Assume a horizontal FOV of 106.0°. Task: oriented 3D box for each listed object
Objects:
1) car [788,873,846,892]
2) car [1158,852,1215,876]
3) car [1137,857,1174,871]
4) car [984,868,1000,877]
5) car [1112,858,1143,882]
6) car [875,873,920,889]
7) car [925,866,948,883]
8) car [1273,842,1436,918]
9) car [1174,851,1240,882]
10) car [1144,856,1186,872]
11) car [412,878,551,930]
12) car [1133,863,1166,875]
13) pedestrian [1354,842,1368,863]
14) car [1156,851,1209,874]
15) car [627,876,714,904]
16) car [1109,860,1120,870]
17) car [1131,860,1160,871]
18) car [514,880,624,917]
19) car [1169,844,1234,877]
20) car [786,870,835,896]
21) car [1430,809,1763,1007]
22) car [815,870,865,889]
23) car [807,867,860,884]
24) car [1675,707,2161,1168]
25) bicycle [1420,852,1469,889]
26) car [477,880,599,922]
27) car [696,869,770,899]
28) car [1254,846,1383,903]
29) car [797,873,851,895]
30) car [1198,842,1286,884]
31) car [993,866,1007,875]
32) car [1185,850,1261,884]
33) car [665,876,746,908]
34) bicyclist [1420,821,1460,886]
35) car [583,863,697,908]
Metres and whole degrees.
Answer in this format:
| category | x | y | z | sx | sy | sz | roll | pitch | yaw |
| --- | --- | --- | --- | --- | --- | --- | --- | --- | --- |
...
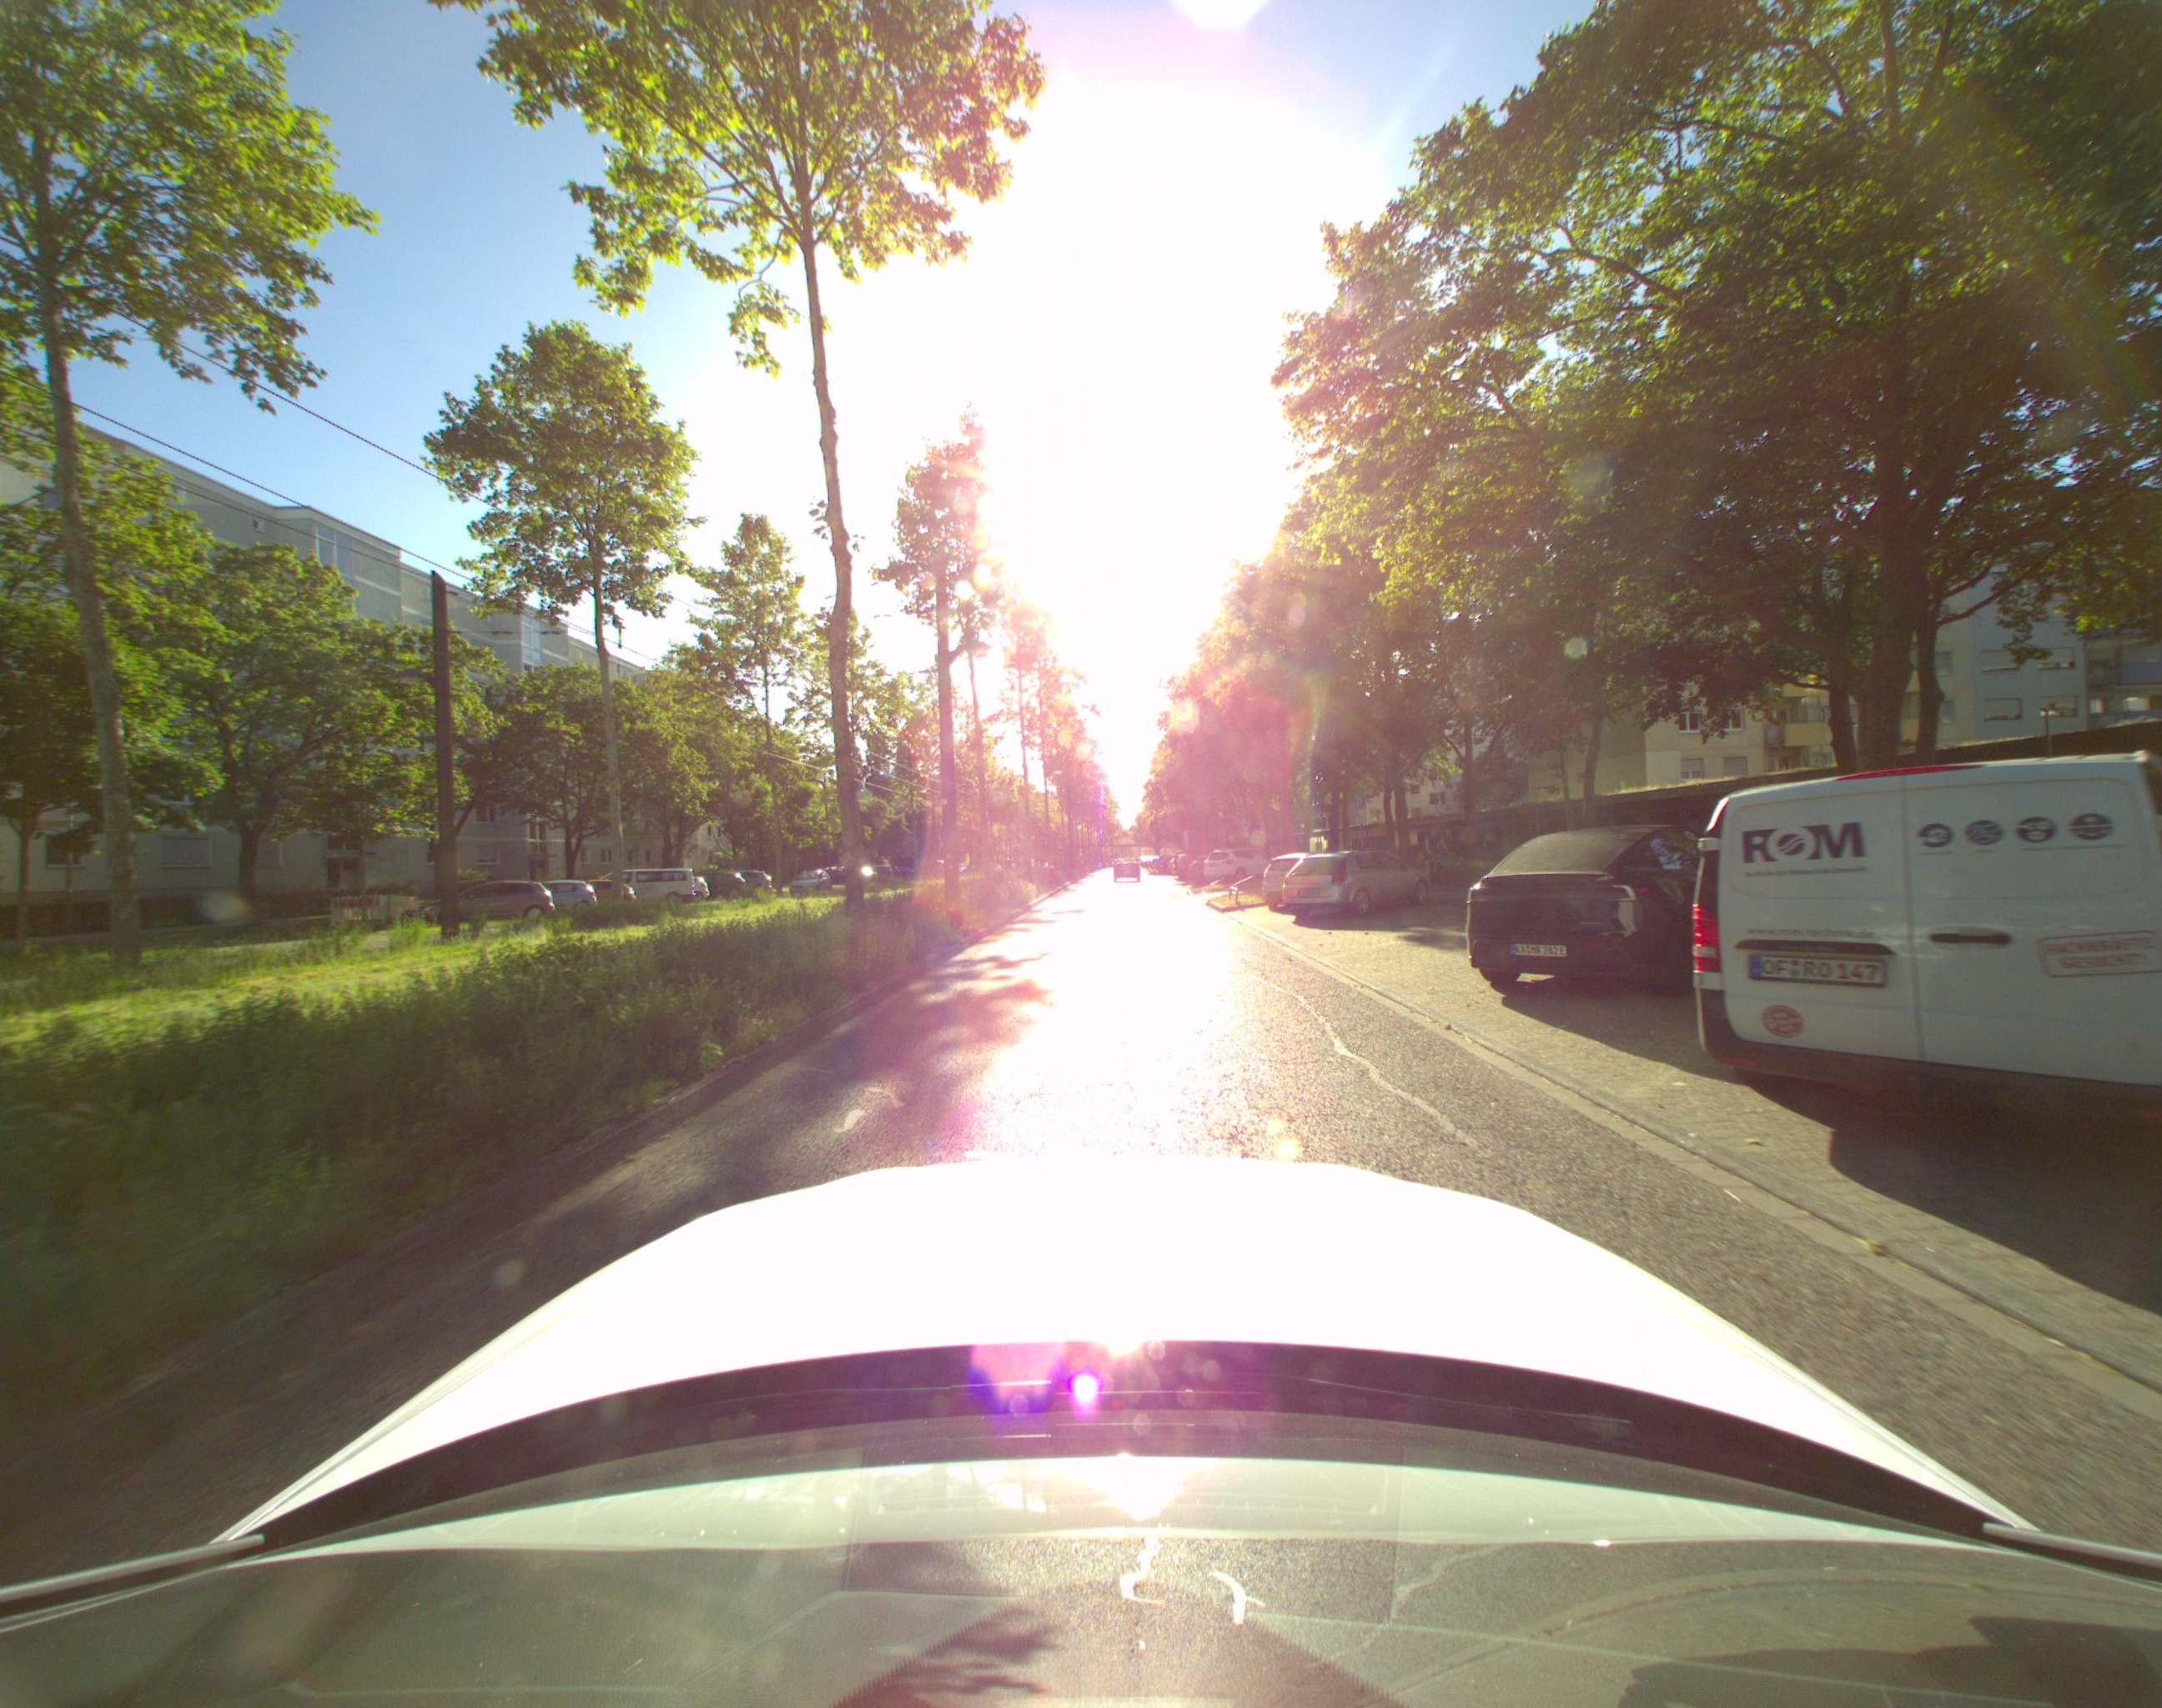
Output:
| category | x | y | z | sx | sy | sz | roll | pitch | yaw |
| --- | --- | --- | --- | --- | --- | --- | --- | --- | --- |
| car | -21.769 | 2.317 | 67.222 | 4.154 | 1.337 | 1.774 | -2 | 0 | -41 |
| car | 8.173 | 0.794 | 62.794 | 4.100 | 1.582 | 1.763 | -3 | -1 | -33 |
| car | 8.799 | 1.160 | 96.071 | 4.353 | 1.424 | 1.834 | -3 | -1 | -41 |
| car | -15.573 | 3.245 | 142.571 | 1.984 | 1.590 | 4.172 | 1 | -1 | 4 |
| car | 2.973 | 0.994 | 52.636 | 1.915 | 1.411 | 4.002 | -1 | 0 | 2 |
| car | -20.161 | 2.929 | 89.598 | 4.510 | 1.568 | 1.774 | -2 | -1 | -41 |
| car | -18.282 | 2.580 | 103.052 | 1.638 | 2.093 | 4.920 | 1 | -1 | 4 |
| car | 6.540 | 0.574 | 19.245 | 4.208 | 1.412 | 1.700 | -4 | 0 | -41 |
| car | 6.910 | 0.678 | 44.456 | 3.648 | 1.448 | 1.631 | -3 | -1 | -44 |
| car | 8.951 | 1.077 | 86.399 | 4.518 | 1.443 | 1.834 | -3 | -1 | -41 |
| car | -22.488 | 1.840 | 30.633 | 4.106 | 1.646 | 1.632 | -2 | -2 | -40 |
| car | 9.698 | 2.095 | 115.310 | 4.651 | 1.459 | 1.955 | -2 | -1 | -44 |
| pedestrian | 26.221 | -0.141 | 76.374 | 0.871 | 1.914 | 0.869 | -2 | -1 | -6 |
| car | 8.199 | 0.688 | 65.607 | 4.340 | 1.717 | 1.617 | -2 | -1 | -37 |
| car | -22.273 | 1.920 | 44.186 | 4.099 | 1.432 | 1.563 | 0 | -1 | -32 |
| car | 5.667 | 1.859 | 138.153 | 1.842 | 1.535 | 3.869 | -2 | 0 | 3 |
| car | 10.402 | 1.790 | 131.046 | 4.648 | 1.680 | 1.835 | 0 | -1 | -40 |
| car | -23.133 | 1.997 | 36.914 | 4.100 | 1.432 | 1.563 | -2 | -2 | -33 |
| car | 7.634 | 0.384 | 51.422 | 4.105 | 1.811 | 1.632 | -3 | -1 | -38 |
| car | -16.984 | 1.805 | 51.375 | 1.639 | 1.485 | 3.851 | -3 | -1 | 2 |
| car | 5.961 | 0.428 | 9.176 | 4.525 | 1.705 | 1.740 | -3 | -1 | -39 |
| car | -21.868 | 2.324 | 73.937 | 3.942 | 1.487 | 1.774 | -2 | -1 | -41 |
| car | -23.310 | 2.019 | 76.797 | 4.505 | 1.481 | 1.600 | -2 | -1 | -34 |
| car | 5.794 | 0.277 | 5.238 | 4.692 | 1.853 | 1.810 | -3 | -1 | -37 |
| bicycle | 10.220 | 0.454 | 22.955 | 0.619 | 0.967 | 1.841 | -2 | -1 | 3 |
| car | -22.801 | 1.941 | 34.256 | 4.106 | 1.483 | 1.632 | -2 | -1 | -40 |
| car | -22.018 | 1.872 | 51.549 | 4.096 | 1.607 | 1.976 | -2 | 1 | -29 |
| car | 6.763 | 0.558 | 22.988 | 3.960 | 1.373 | 1.568 | -3 | -1 | -41 |
| car | -22.109 | 2.590 | 70.182 | 4.000 | 1.675 | 1.766 | -2 | -1 | -41 |
| car | 7.519 | 0.382 | 37.802 | 4.048 | 1.705 | 1.740 | -3 | -1 | -39 |
| car | -14.758 | 3.009 | 148.654 | 1.779 | 1.590 | 4.172 | 1 | -1 | 4 |
| car | 7.134 | 0.643 | 40.745 | 3.808 | 1.470 | 1.631 | -3 | -1 | -41 |
| car | -22.083 | 2.200 | 47.884 | 4.099 | 1.531 | 1.800 | -2 | 1 | -32 |
| bicyclist | 10.220 | 0.007 | 23.210 | 0.620 | 1.741 | 1.023 | -2 | -5 | 2 |
| car | -22.166 | 1.539 | 41.012 | 4.820 | 2.006 | 1.871 | -2 | 1 | -36 |
